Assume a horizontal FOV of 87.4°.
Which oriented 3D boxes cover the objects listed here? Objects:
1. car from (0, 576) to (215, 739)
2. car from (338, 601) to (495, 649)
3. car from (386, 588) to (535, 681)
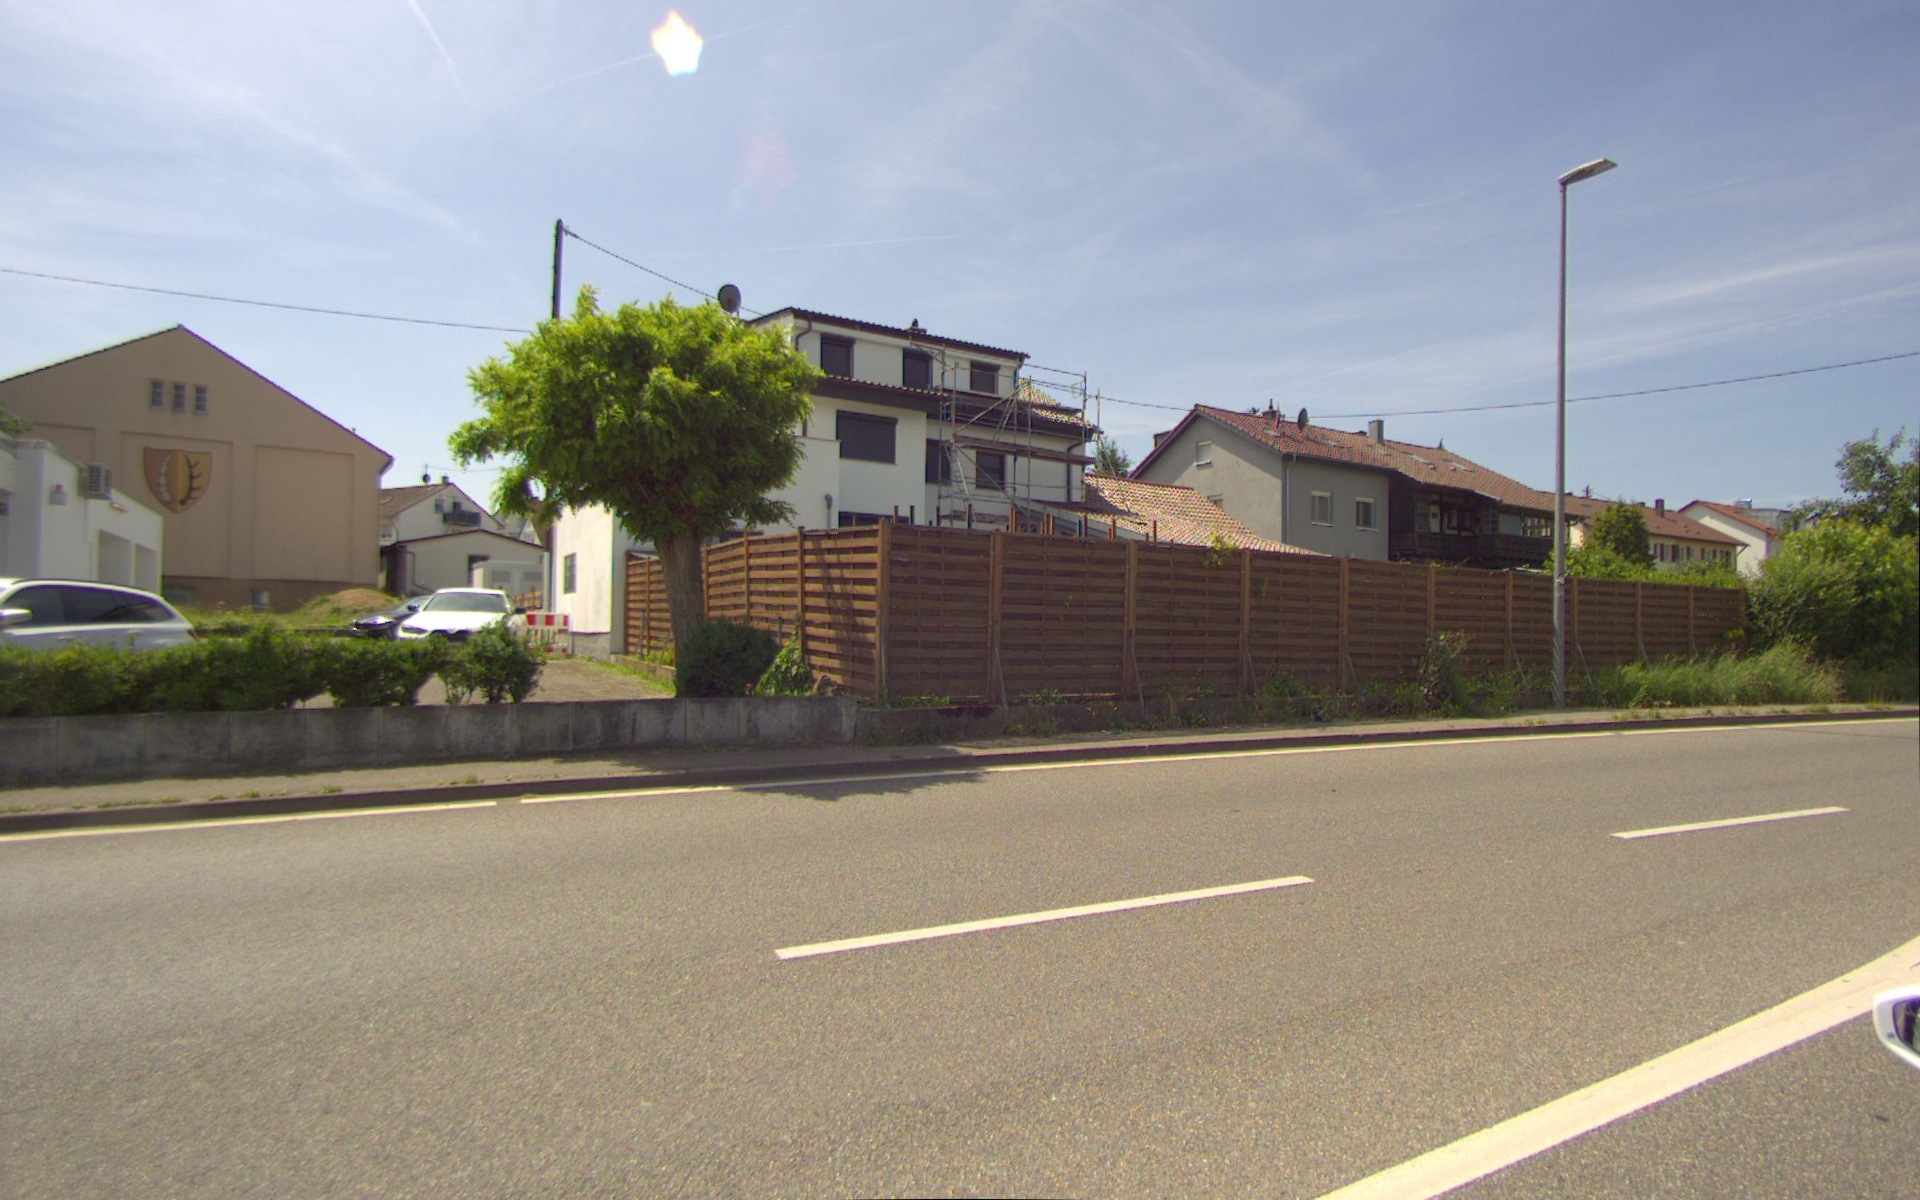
[{"bbox_3d":[-9.702,0.495,9.838,1.822,1.467,4.339,2,0,-5],"label":"car"},{"bbox_3d":[-16.289,0.696,30.309,1.756,1.238,3.999,2,1,21],"label":"car"},{"bbox_3d":[-9.181,0.573,18.783,1.805,1.530,3.985,1,0,-17],"label":"car"}]
